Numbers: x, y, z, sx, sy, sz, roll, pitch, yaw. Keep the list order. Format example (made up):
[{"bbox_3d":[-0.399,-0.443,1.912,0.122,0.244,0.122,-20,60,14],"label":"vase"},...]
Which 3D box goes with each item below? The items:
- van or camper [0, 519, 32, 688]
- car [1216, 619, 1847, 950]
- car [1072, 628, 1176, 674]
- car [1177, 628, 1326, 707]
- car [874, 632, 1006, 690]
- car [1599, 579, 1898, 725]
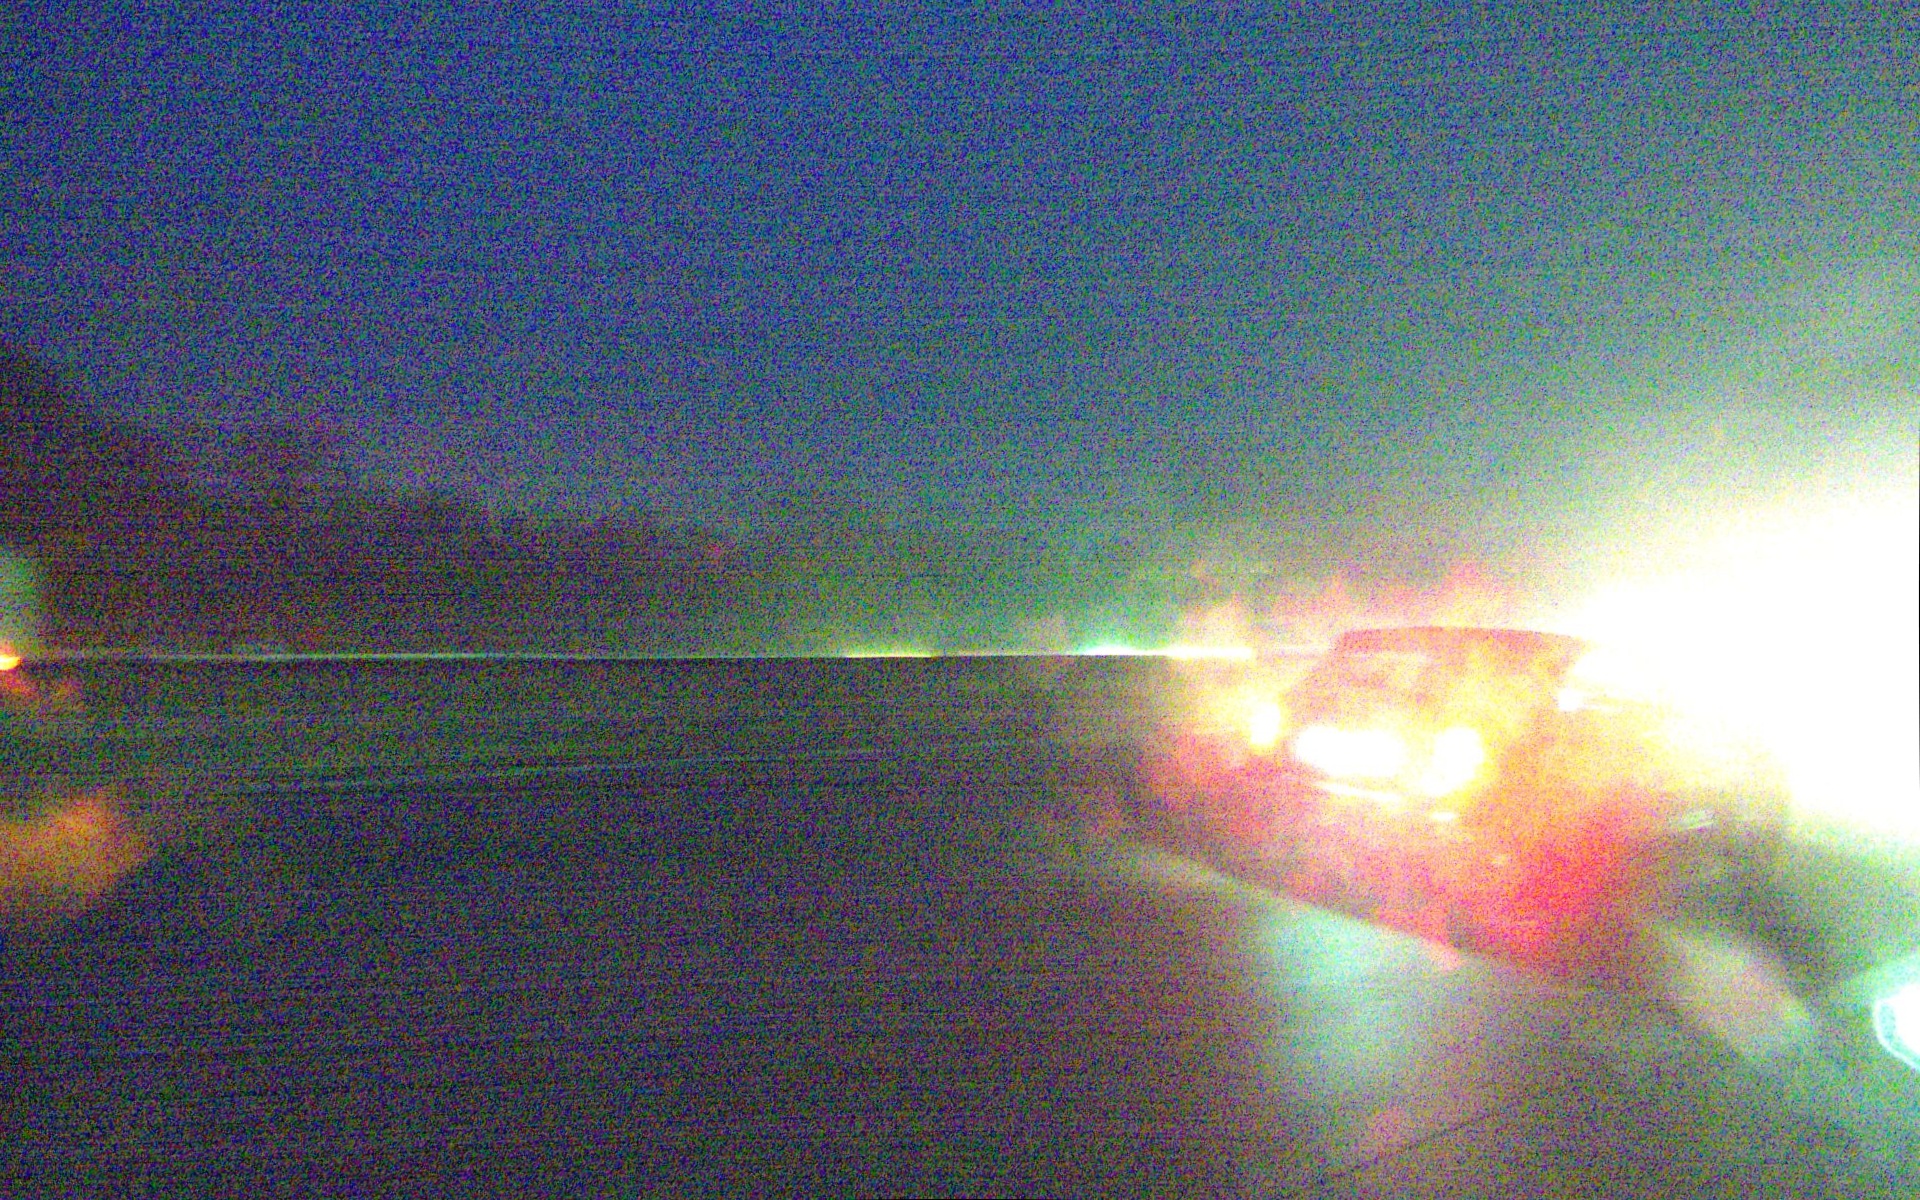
[{"bbox_3d":[-25.009,-0.041,21.127,7.590,3.750,2.502,2,0,-30],"label":"van or camper"},{"bbox_3d":[3.722,0.885,6.321,4.198,1.450,1.648,1,0,-32],"label":"car"},{"bbox_3d":[6.515,2.027,39.881,3.842,1.695,1.754,2,0,-30],"label":"car"},{"bbox_3d":[8.256,1.868,28.393,3.953,2.040,1.782,2,0,-30],"label":"car"},{"bbox_3d":[-0.580,1.734,28.643,3.415,1.520,1.539,2,0,-25],"label":"car"},{"bbox_3d":[13.423,0.826,17.005,5.564,2.132,2.113,2,0,-31],"label":"car"}]
